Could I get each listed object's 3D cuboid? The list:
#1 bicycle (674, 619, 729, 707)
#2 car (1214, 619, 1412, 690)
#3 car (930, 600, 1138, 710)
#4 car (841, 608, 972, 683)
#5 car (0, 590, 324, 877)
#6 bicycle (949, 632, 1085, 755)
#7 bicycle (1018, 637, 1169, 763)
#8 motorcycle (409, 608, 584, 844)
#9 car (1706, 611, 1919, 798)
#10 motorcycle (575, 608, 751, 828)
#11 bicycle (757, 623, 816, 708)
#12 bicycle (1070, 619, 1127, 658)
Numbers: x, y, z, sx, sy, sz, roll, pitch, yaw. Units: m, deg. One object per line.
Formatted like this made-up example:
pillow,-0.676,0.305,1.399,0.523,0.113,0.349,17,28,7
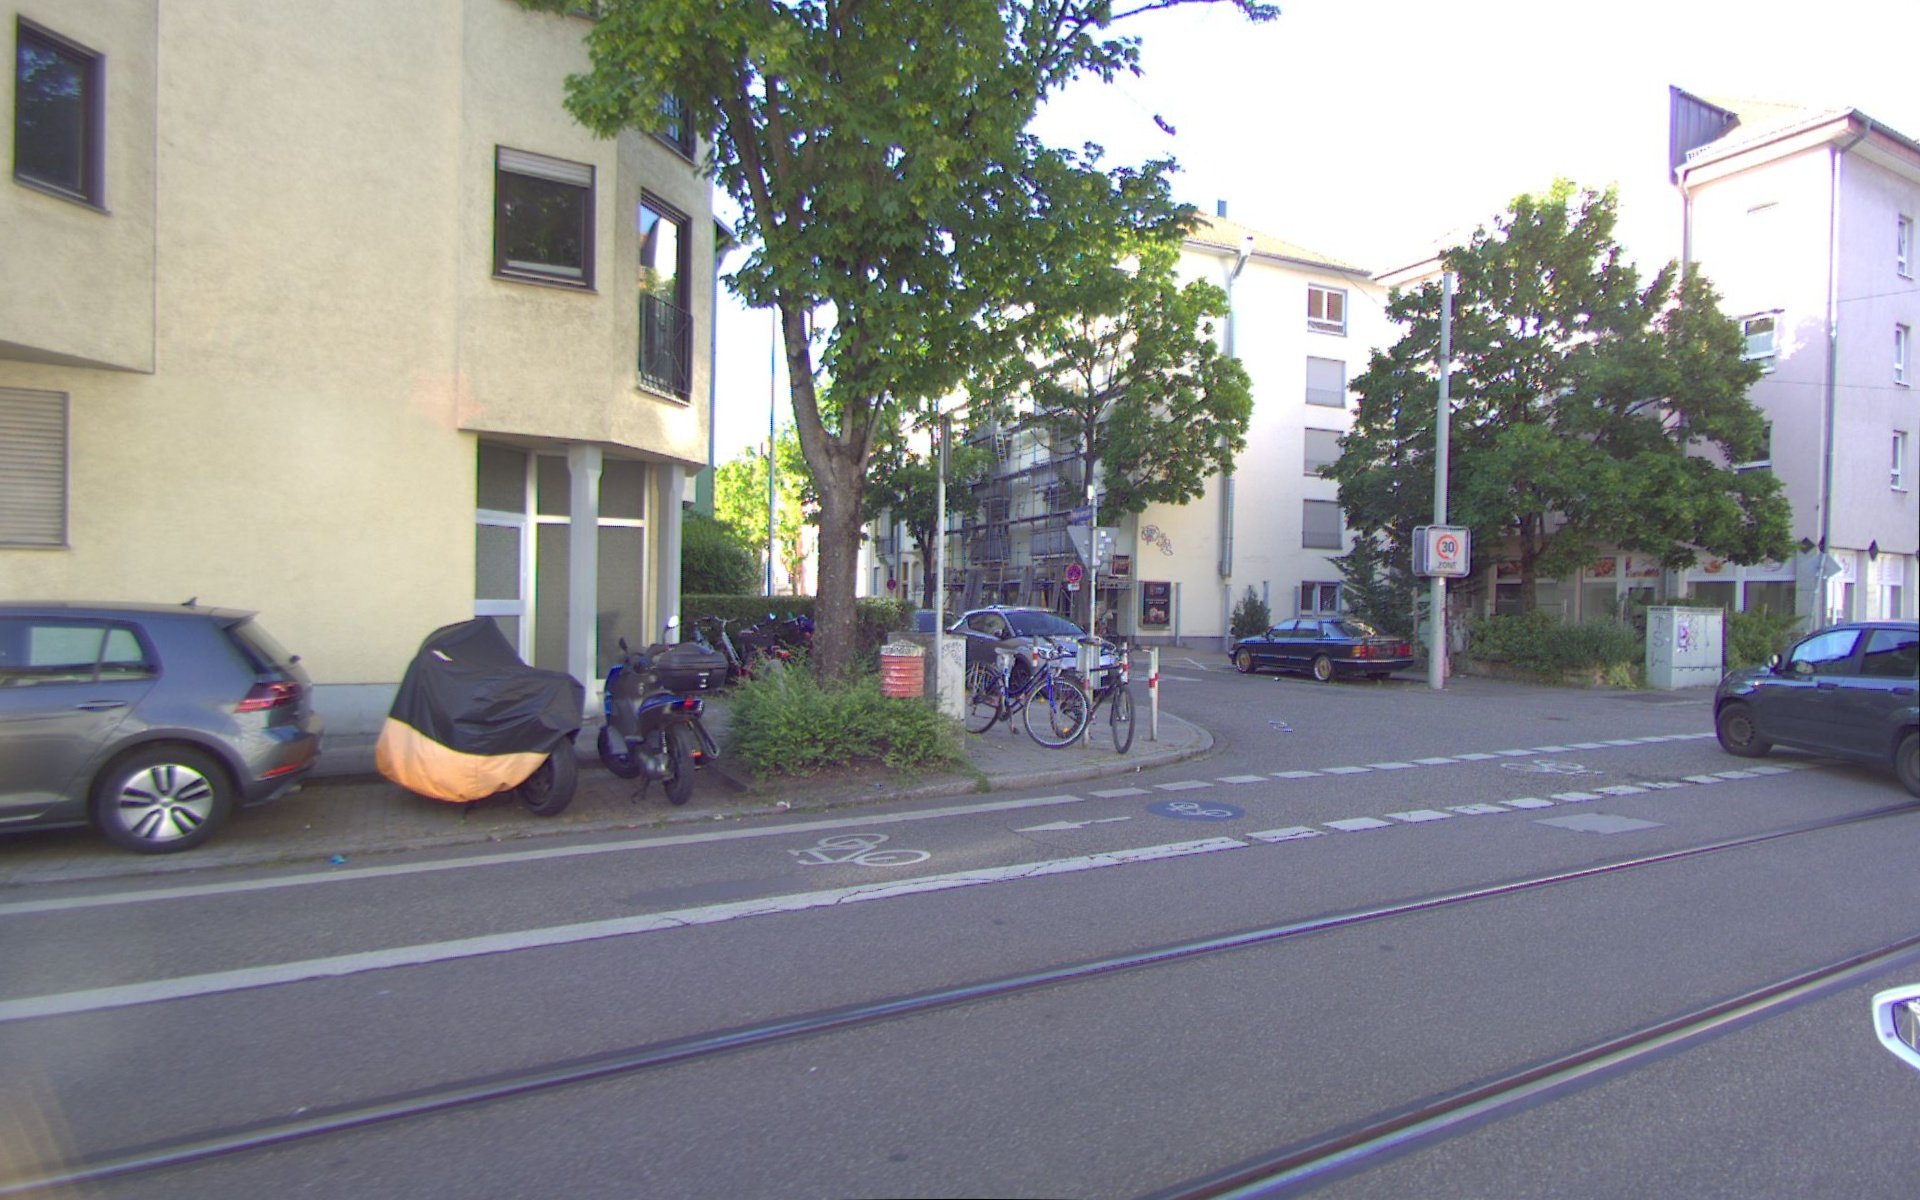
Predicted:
bicycle,-3.510,0.823,13.577,0.328,1.060,1.382,1,1,-30
car,7.983,1.195,23.192,1.690,1.406,4.544,2,-1,-23
car,1.178,0.863,17.823,1.885,1.682,3.971,-1,0,-28
car,-1.337,0.969,23.163,1.733,1.517,4.112,-1,0,-23
car,-6.171,0.714,5.887,4.084,1.563,1.725,1,0,-33
bicycle,0.548,0.911,10.384,0.587,1.099,1.799,1,0,-26
bicycle,1.311,0.962,10.261,0.587,1.099,1.870,1,0,-26
motorcycle,-3.447,0.805,7.365,0.828,1.466,1.956,1,0,-35
car,8.953,0.903,9.426,1.530,1.553,3.488,1,0,5
motorcycle,-2.349,0.805,7.771,0.713,1.466,1.956,1,0,-35
bicycle,-2.424,0.881,13.967,0.328,1.060,1.382,1,1,-30
bicycle,4.610,1.259,33.284,1.969,1.181,0.718,-2,2,-40
